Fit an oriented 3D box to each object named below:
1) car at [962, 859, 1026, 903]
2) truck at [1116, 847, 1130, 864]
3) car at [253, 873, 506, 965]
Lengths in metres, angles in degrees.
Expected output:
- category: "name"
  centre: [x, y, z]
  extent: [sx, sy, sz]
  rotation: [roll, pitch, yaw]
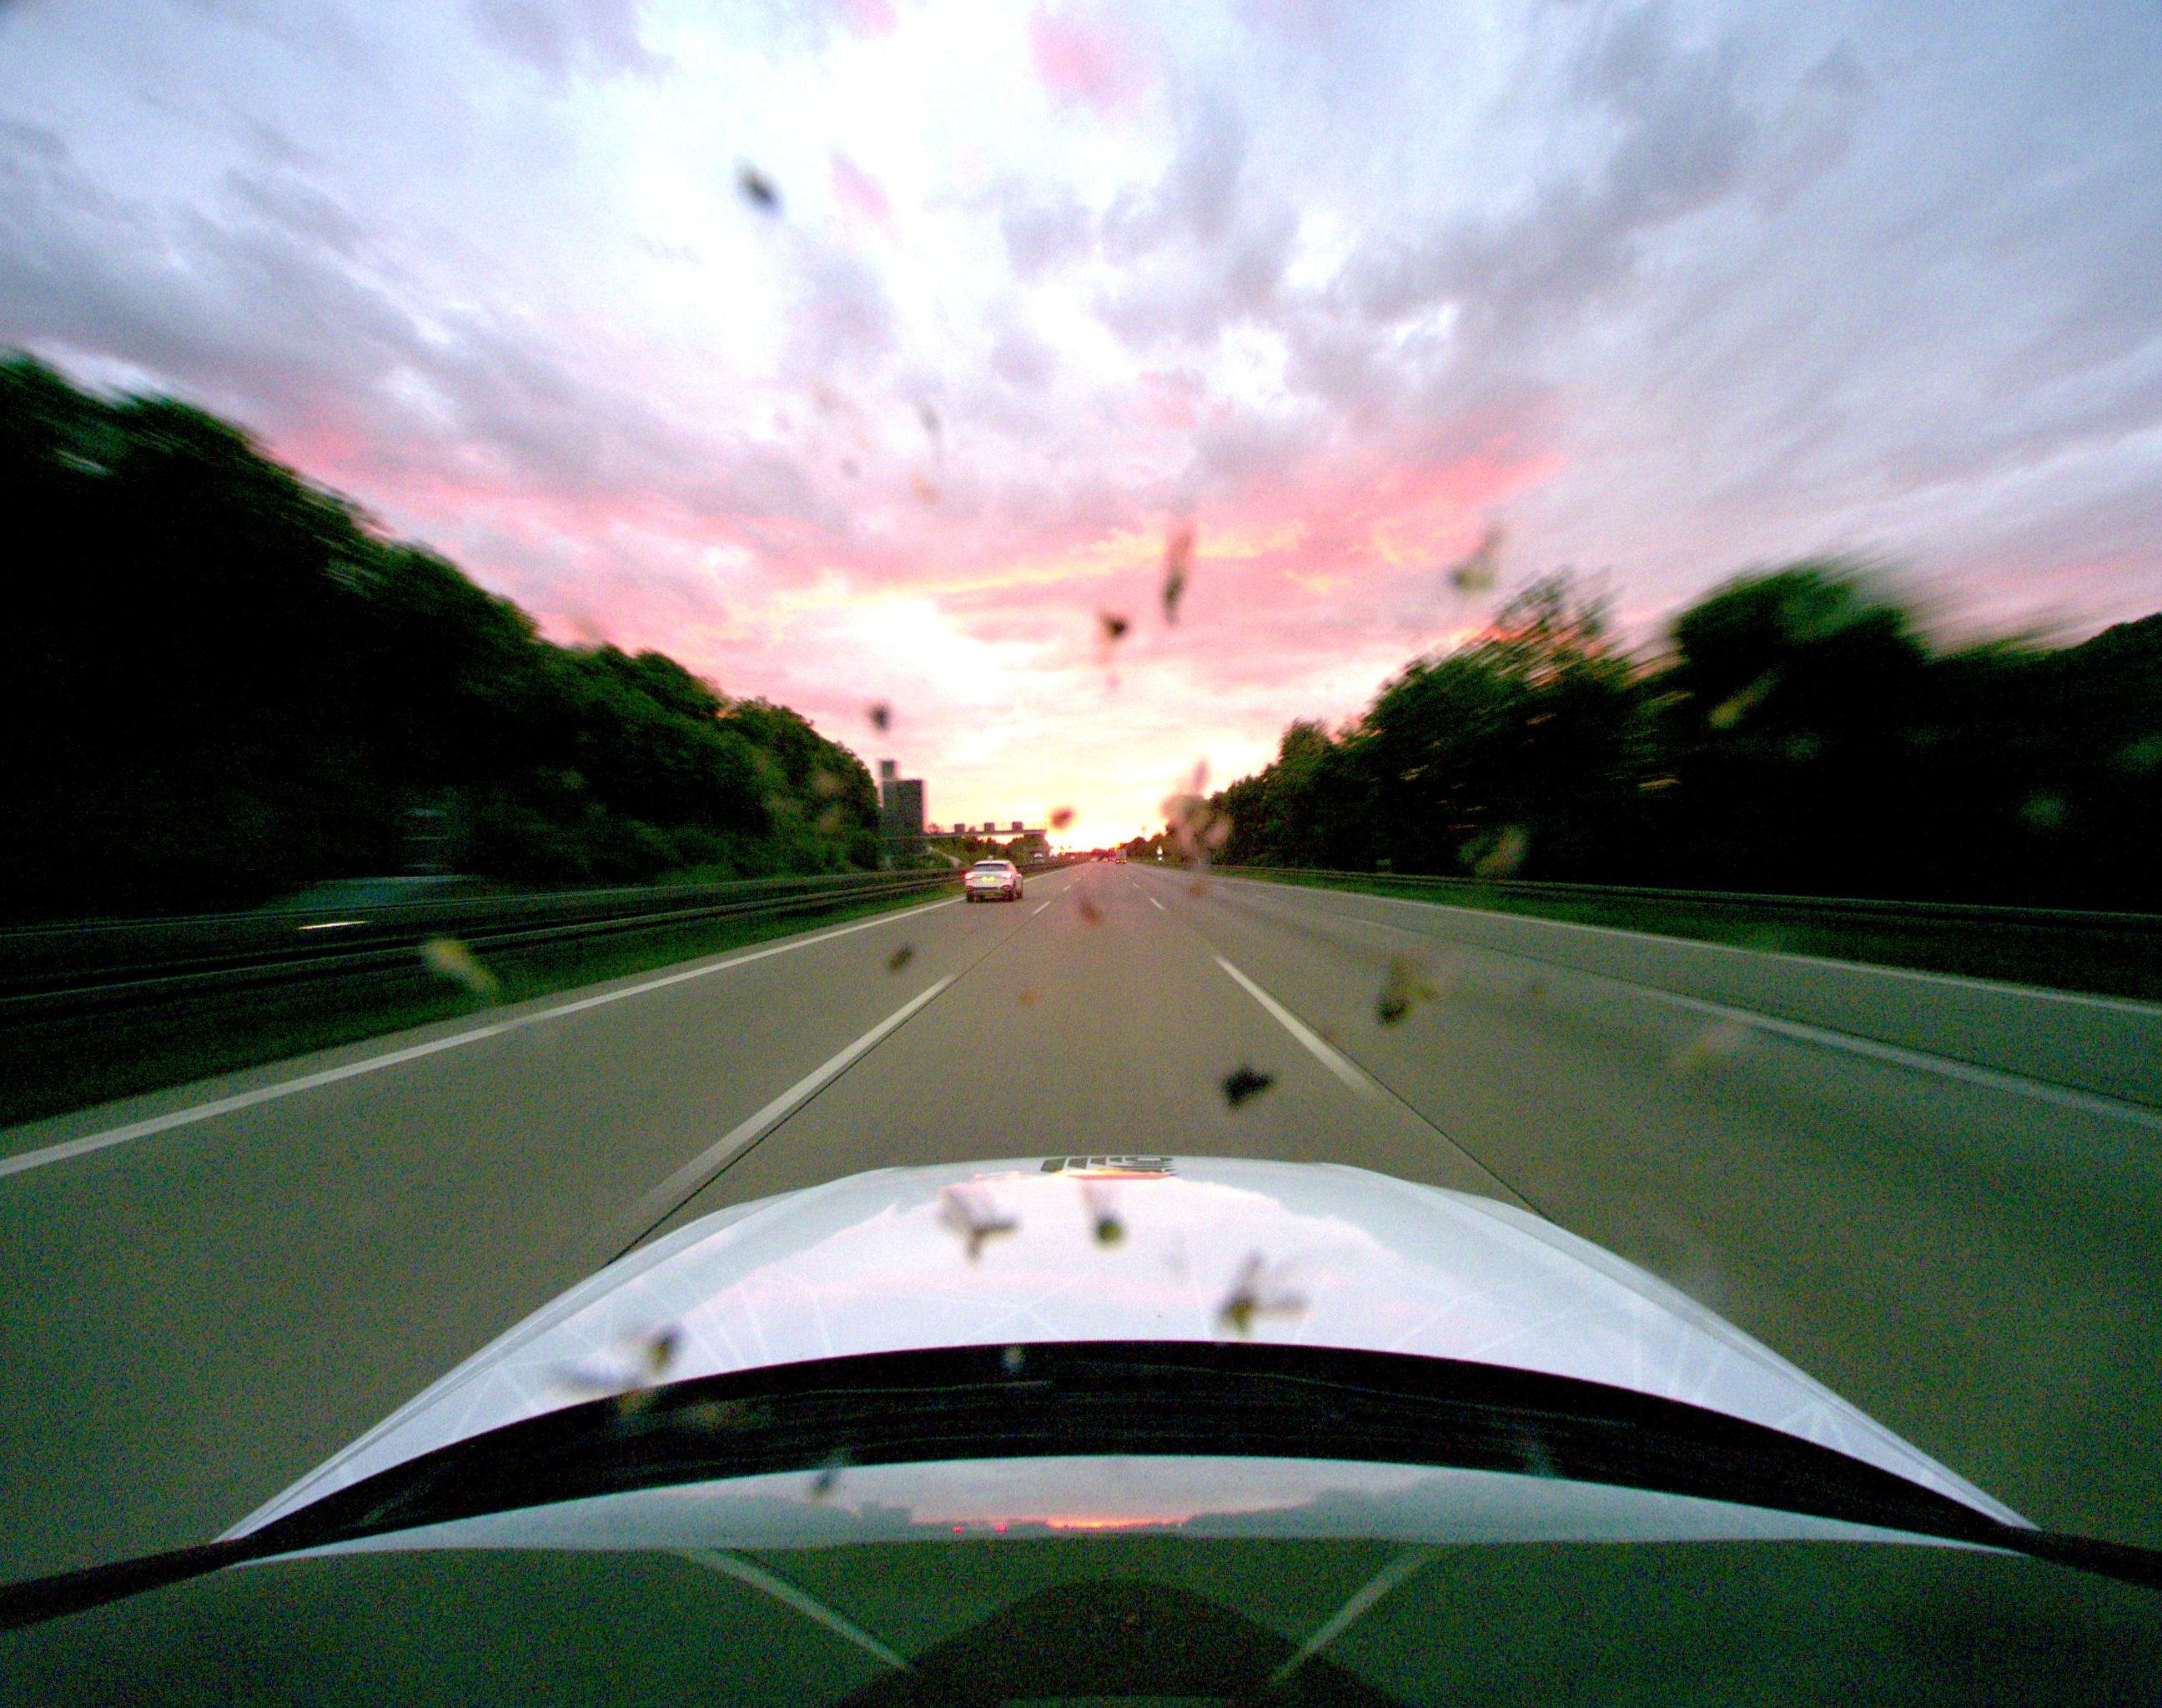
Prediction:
- category: "car"
  centre: [-3.243, 0.959, 31.360]
  extent: [1.783, 1.501, 5.039]
  rotation: [-1, 0, 1]
- category: "truck"
  centre: [10.559, 0.398, 206.596]
  extent: [3.231, 4.127, 9.792]
  rotation: [-2, 0, 3]
- category: "car"
  centre: [-15.535, 1.343, 18.436]
  extent: [1.756, 1.694, 4.459]
  rotation: [-1, 0, 1]
